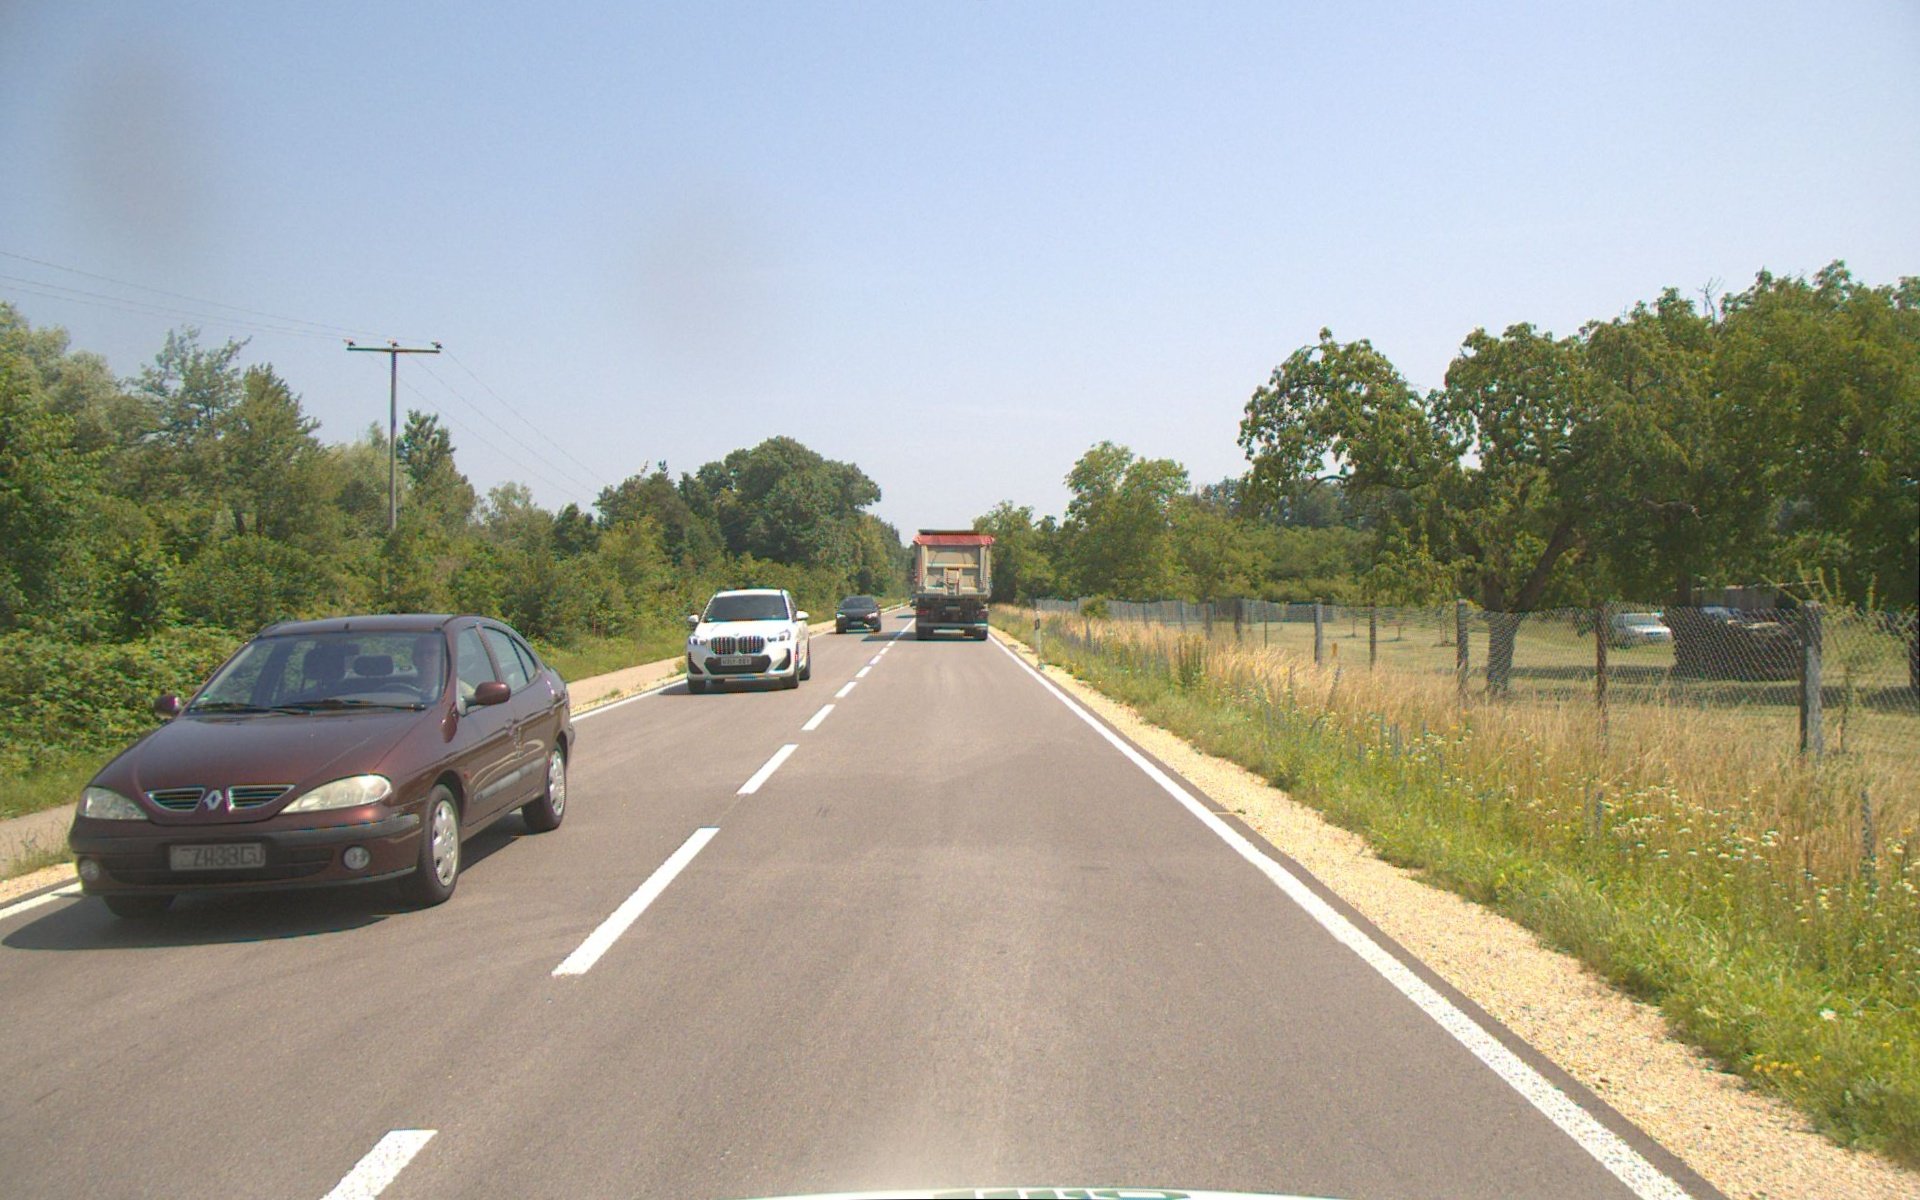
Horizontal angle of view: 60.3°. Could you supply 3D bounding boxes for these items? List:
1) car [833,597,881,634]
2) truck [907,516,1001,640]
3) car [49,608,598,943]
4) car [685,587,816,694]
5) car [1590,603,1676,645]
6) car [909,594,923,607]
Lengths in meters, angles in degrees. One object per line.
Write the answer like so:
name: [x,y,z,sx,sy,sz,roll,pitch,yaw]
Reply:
car: [-4.199,0.616,67.777,1.722,1.381,4.045,-2,0,-1]
truck: [-0.275,-0.690,59.871,2.948,3.942,12.206,2,0,-1]
car: [-3.345,0.807,9.577,1.660,1.431,4.044,-2,0,-2]
car: [-3.531,0.633,28.598,1.722,1.634,4.480,-2,0,-1]
car: [26.058,0.909,64.120,1.563,1.512,3.421,0,1,-8]
car: [-5.777,0.068,215.162,1.722,1.567,4.045,-2,0,-1]
